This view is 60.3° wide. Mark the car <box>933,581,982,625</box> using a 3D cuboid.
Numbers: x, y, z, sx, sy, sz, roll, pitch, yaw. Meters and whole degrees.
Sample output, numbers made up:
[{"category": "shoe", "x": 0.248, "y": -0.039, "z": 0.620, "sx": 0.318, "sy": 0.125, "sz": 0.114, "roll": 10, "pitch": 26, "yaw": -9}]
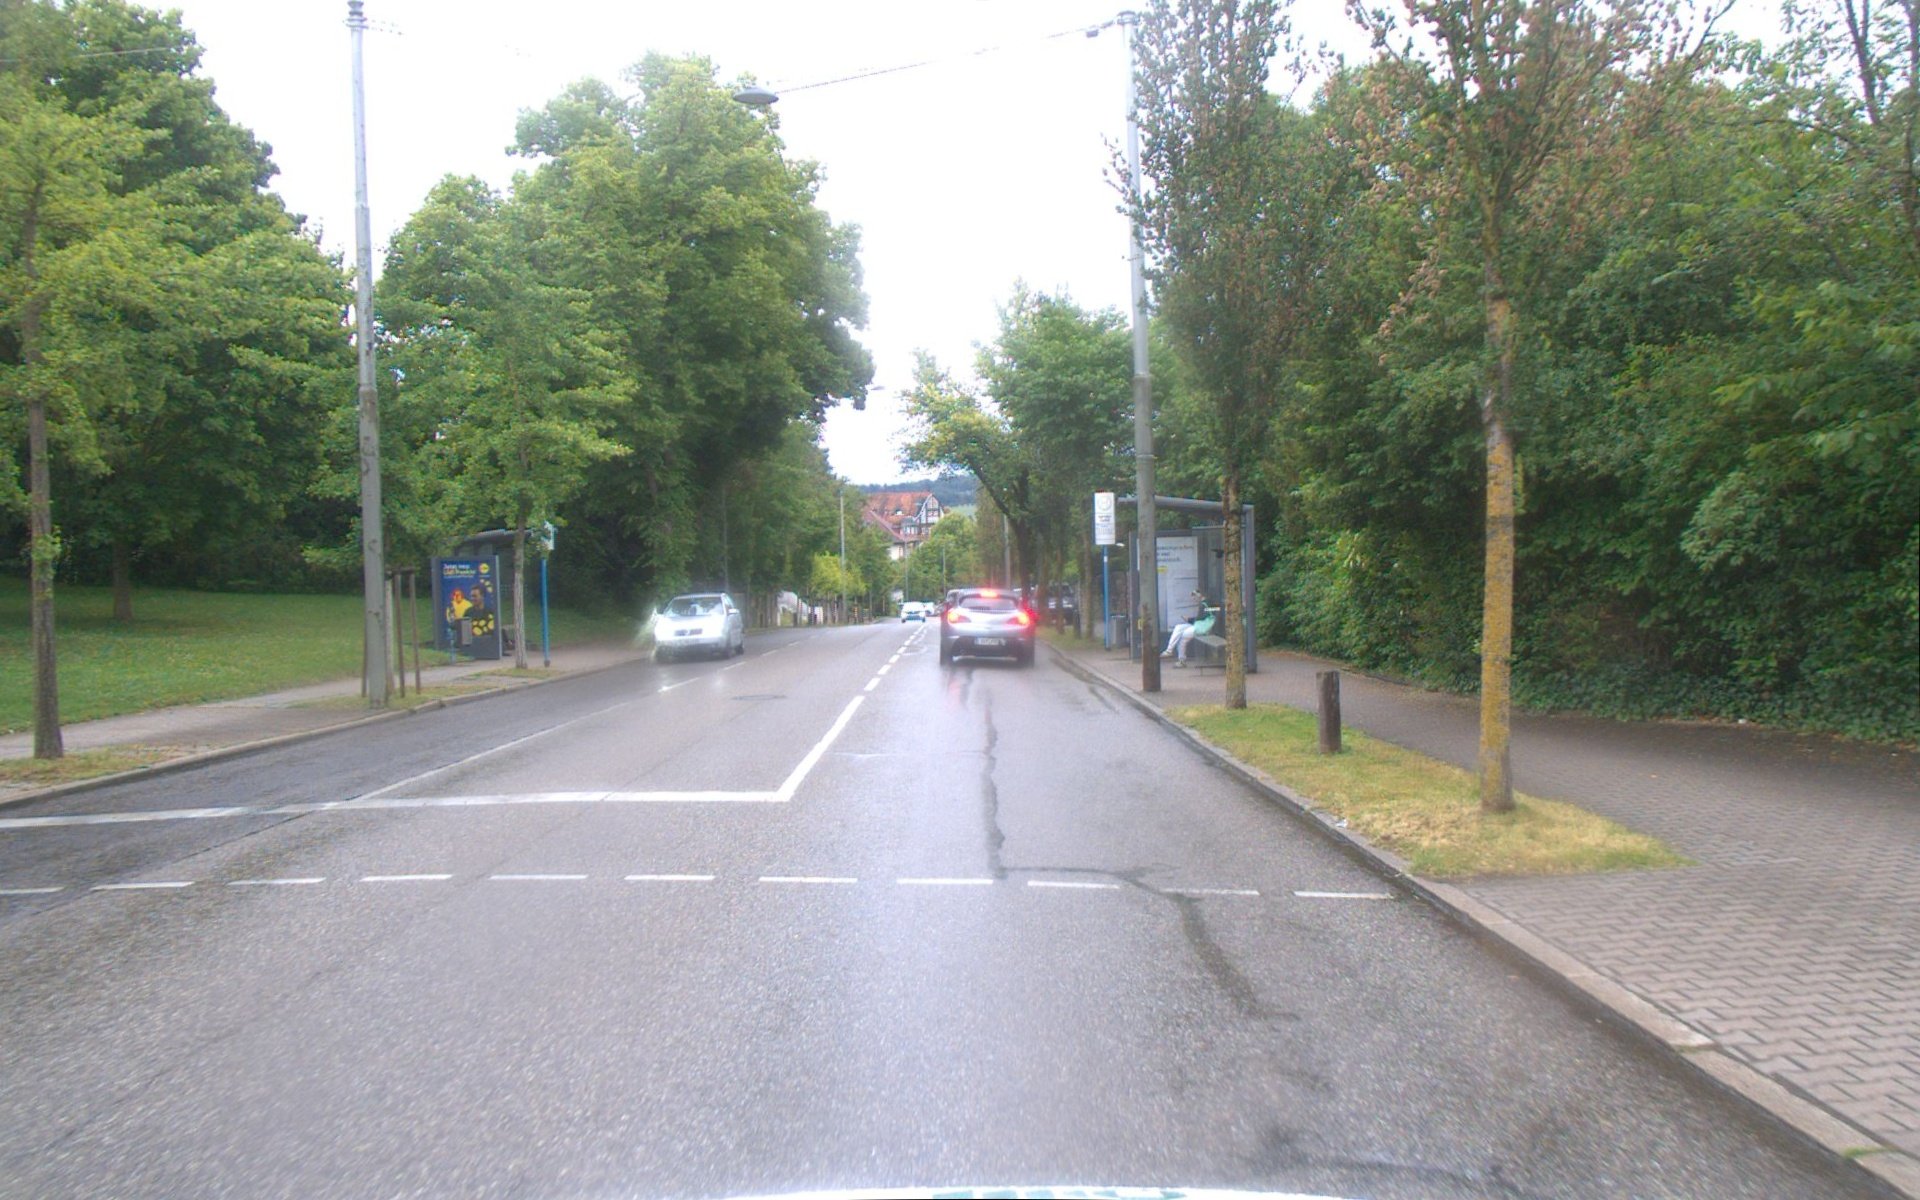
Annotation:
[{"category": "car", "x": -0.086, "y": 0.140, "z": 60.442, "sx": 1.718, "sy": 1.490, "sz": 3.999, "roll": 1, "pitch": -1, "yaw": 0}]

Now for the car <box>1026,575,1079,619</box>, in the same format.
[{"category": "car", "x": 3.419, "y": -0.141, "z": 61.710, "sx": 1.686, "sy": 1.489, "sz": 4.000, "roll": -2, "pitch": 1, "yaw": 0}]

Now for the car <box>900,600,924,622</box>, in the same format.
[{"category": "car", "x": -3.607, "y": 0.779, "z": 124.736, "sx": 1.686, "sy": 1.489, "sz": 4.000, "roll": 2, "pitch": 1, "yaw": 0}]

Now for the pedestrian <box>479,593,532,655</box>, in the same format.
[{"category": "pedestrian", "x": -10.910, "y": 0.562, "z": 39.705, "sx": 0.918, "sy": 1.428, "sz": 0.919, "roll": 2, "pitch": 1, "yaw": 6}]

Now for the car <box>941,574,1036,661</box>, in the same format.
[{"category": "car", "x": 0.496, "y": 0.294, "z": 32.363, "sx": 1.718, "sy": 1.489, "sz": 4.000, "roll": 1, "pitch": 2, "yaw": -1}]

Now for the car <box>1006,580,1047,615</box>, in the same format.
[{"category": "car", "x": 3.059, "y": -0.150, "z": 76.868, "sx": 1.686, "sy": 1.489, "sz": 4.000, "roll": -2, "pitch": 1, "yaw": 0}]

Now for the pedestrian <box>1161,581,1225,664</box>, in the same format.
[{"category": "pedestrian", "x": 4.058, "y": 0.386, "z": 28.890, "sx": 1.051, "sy": 1.379, "sz": 0.919, "roll": -2, "pitch": 1, "yaw": 6}]

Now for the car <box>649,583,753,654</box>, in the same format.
[{"category": "car", "x": -5.807, "y": 0.375, "z": 37.466, "sx": 1.686, "sy": 1.423, "sz": 4.000, "roll": -2, "pitch": 1, "yaw": 0}]
